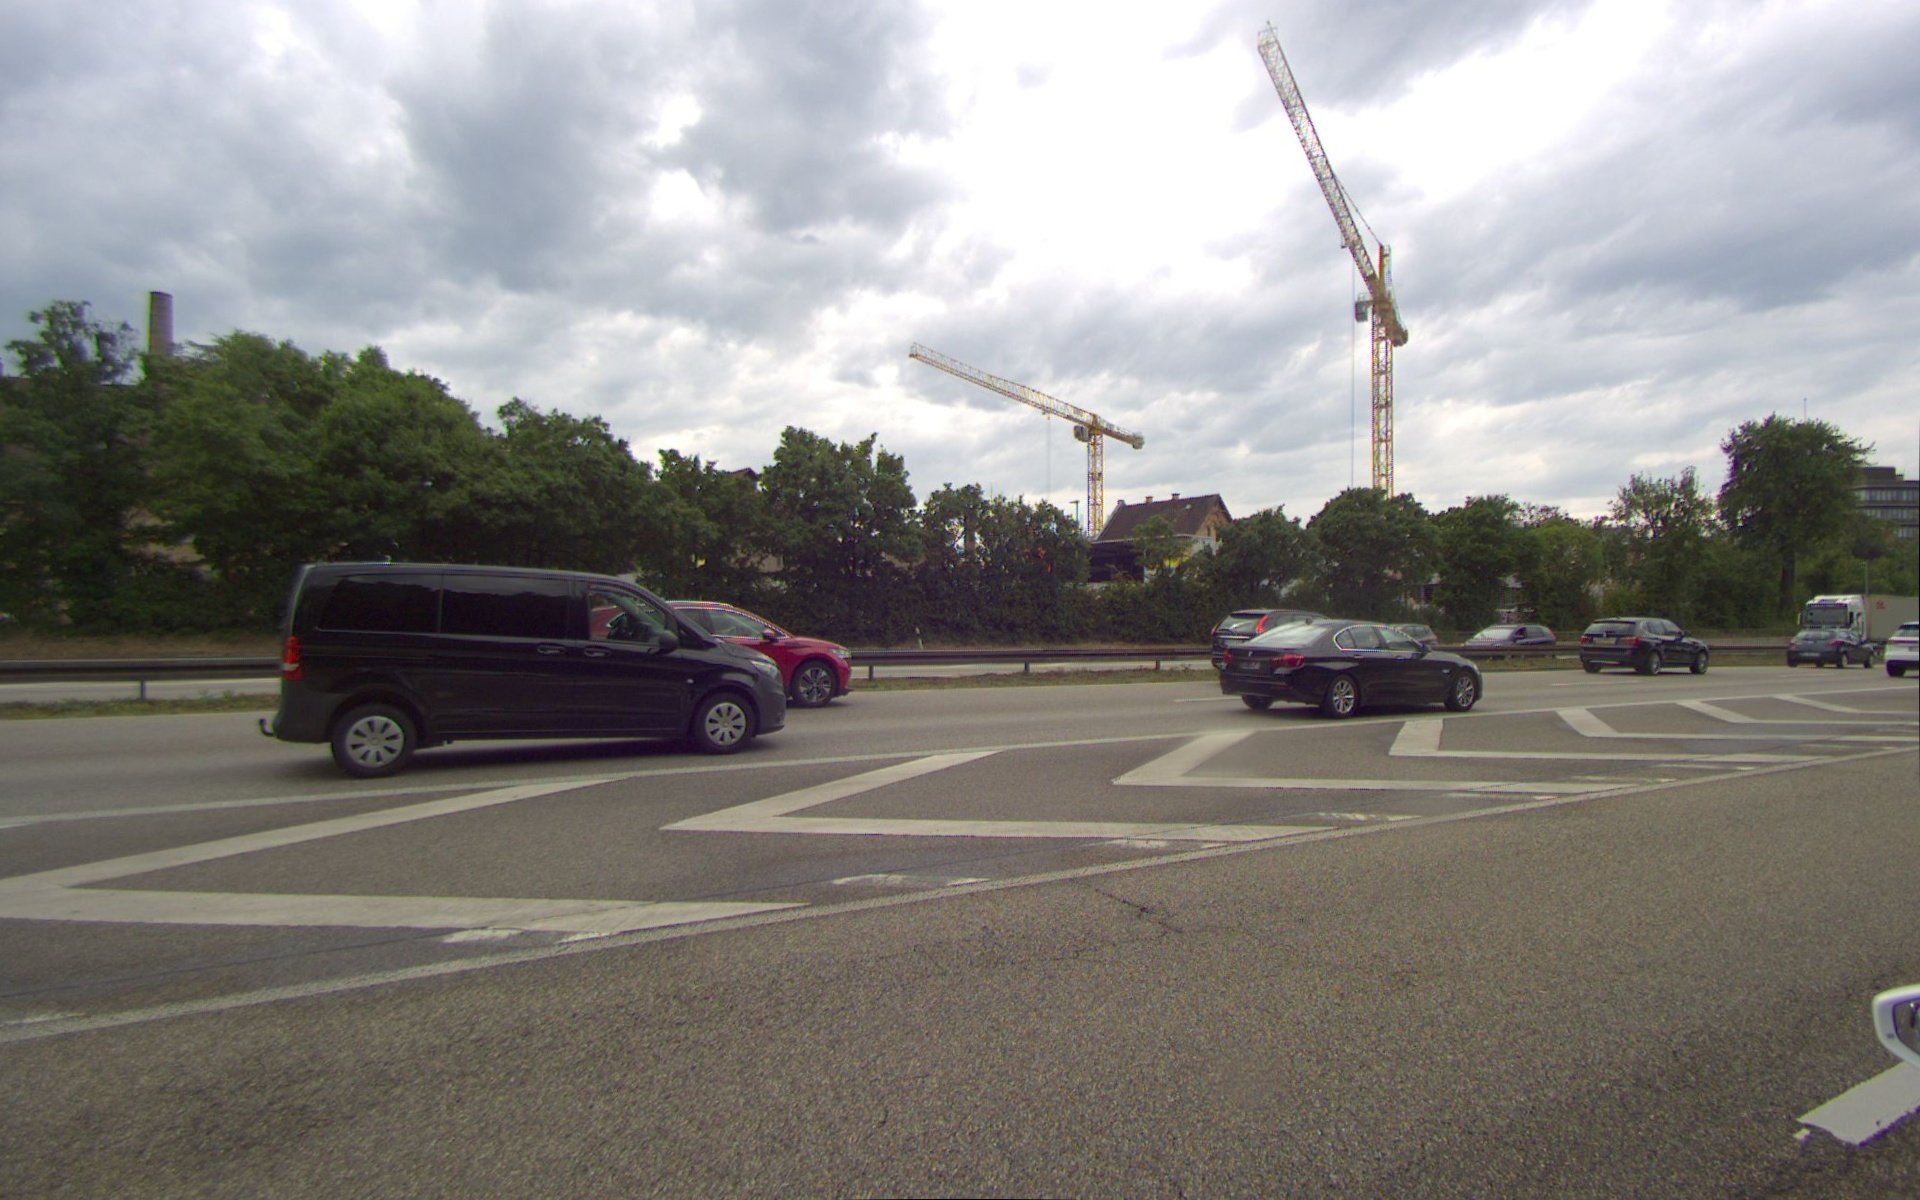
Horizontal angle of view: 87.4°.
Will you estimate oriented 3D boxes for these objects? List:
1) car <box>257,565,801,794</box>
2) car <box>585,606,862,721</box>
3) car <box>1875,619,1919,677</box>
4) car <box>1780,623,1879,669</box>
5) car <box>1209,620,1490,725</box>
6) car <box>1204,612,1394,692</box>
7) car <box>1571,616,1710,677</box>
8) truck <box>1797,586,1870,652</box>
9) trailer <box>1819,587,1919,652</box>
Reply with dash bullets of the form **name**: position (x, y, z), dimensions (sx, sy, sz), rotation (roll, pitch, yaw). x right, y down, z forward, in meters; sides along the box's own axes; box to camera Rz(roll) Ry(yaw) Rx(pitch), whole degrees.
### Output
- **car**: position (-4.238, 0.697, 10.356), dimensions (4.757, 1.875, 1.983), rotation (1, -1, -32)
- **car**: position (-3.662, 0.927, 15.670), dimensions (3.896, 1.588, 1.759), rotation (1, -1, -29)
- **car**: position (29.911, 1.437, 30.481), dimensions (4.454, 1.714, 1.937), rotation (1, -1, -30)
- **car**: position (32.919, 1.706, 38.007), dimensions (3.962, 1.629, 1.679), rotation (1, 0, -31)
- **car**: position (6.325, 1.075, 16.171), dimensions (4.610, 1.476, 1.705), rotation (1, -1, -29)
- **car**: position (7.695, 1.118, 22.708), dimensions (4.216, 1.657, 1.744), rotation (1, -1, -30)
- **car**: position (20.522, 1.357, 30.248), dimensions (4.257, 1.703, 1.881), rotation (1, -1, -31)
- **truck**: position (55.397, 1.230, 63.691), dimensions (3.954, 4.073, 2.394), rotation (1, -1, -31)
- **trailer**: position (62.056, 1.360, 67.724), dimensions (12.927, 4.082, 2.385), rotation (1, -1, -31)
